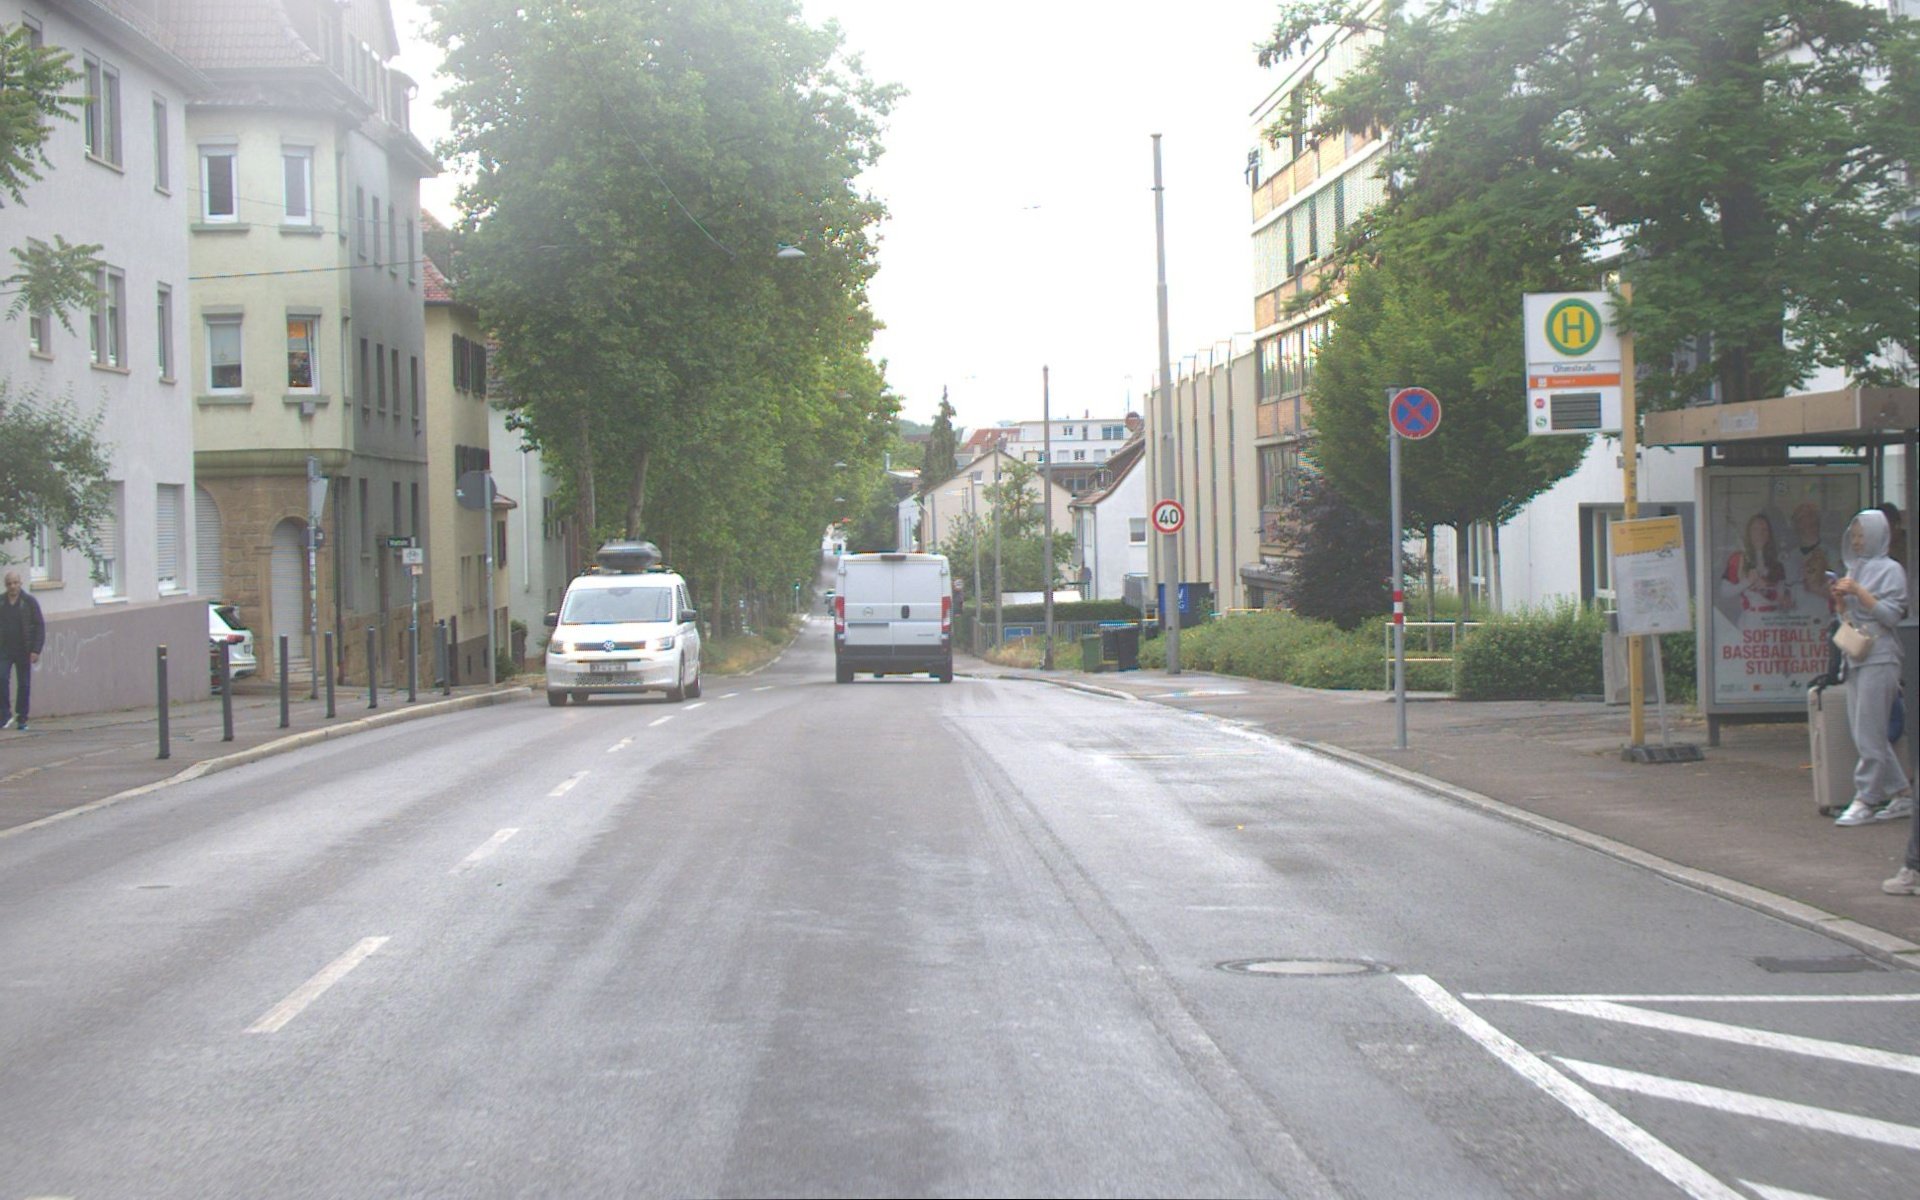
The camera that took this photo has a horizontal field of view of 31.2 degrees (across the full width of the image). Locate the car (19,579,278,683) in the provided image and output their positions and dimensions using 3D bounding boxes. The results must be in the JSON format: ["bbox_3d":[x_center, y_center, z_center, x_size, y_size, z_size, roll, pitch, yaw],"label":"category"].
[{"bbox_3d":[-14.633,0.556,62.158,4.182,1.698,2.000,2,0,-1],"label":"car"}]

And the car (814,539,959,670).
[{"bbox_3d":[-1.350,0.027,60.905,2.346,2.153,4.778,-1,1,-3],"label":"car"}]

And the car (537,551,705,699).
[{"bbox_3d":[-4.578,0.329,46.955,1.882,1.863,4.453,-2,0,-1],"label":"car"}]

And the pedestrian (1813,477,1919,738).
[{"bbox_3d":[6.575,0.046,24.668,0.646,1.825,0.741,-2,1,0],"label":"pedestrian"}]

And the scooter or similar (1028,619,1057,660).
[{"bbox_3d":[2.361,1.134,98.426,0.605,1.158,1.700,-1,-1,-6],"label":"scooter or similar"}]

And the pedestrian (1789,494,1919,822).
[{"bbox_3d":[5.025,0.302,18.773,0.660,1.735,0.829,-2,1,-6],"label":"pedestrian"}]

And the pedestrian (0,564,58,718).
[{"bbox_3d":[-10.416,0.450,37.767,0.815,1.673,0.993,0,-1,-4],"label":"pedestrian"}]

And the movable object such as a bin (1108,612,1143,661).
[{"bbox_3d":[3.846,0.848,79.708,0.695,1.078,0.778,-4,0,0],"label":"movable object such as a bin"}]

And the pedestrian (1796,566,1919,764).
[{"bbox_3d":[6.418,0.413,23.070,1.355,1.269,0.742,-2,1,-6],"label":"pedestrian"}]

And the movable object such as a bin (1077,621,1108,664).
[{"bbox_3d":[3.069,0.983,79.536,0.619,0.933,0.686,-4,0,0],"label":"movable object such as a bin"}]

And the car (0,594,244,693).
[{"bbox_3d":[-13.985,0.706,56.567,3.986,1.448,2.000,2,0,-2],"label":"car"}]

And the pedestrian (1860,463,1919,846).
[{"bbox_3d":[4.762,0.250,16.700,0.459,1.834,0.605,-4,1,-6],"label":"pedestrian"}]

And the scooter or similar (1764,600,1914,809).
[{"bbox_3d":[4.976,0.583,19.481,0.617,1.136,0.568,-3,0,-6],"label":"scooter or similar"}]

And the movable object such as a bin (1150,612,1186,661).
[{"bbox_3d":[4.825,0.846,79.777,0.695,1.078,0.778,-4,0,0],"label":"movable object such as a bin"}]

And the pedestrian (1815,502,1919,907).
[{"bbox_3d":[4.224,0.431,14.745,0.634,1.704,0.749,-4,1,-35],"label":"pedestrian"}]
